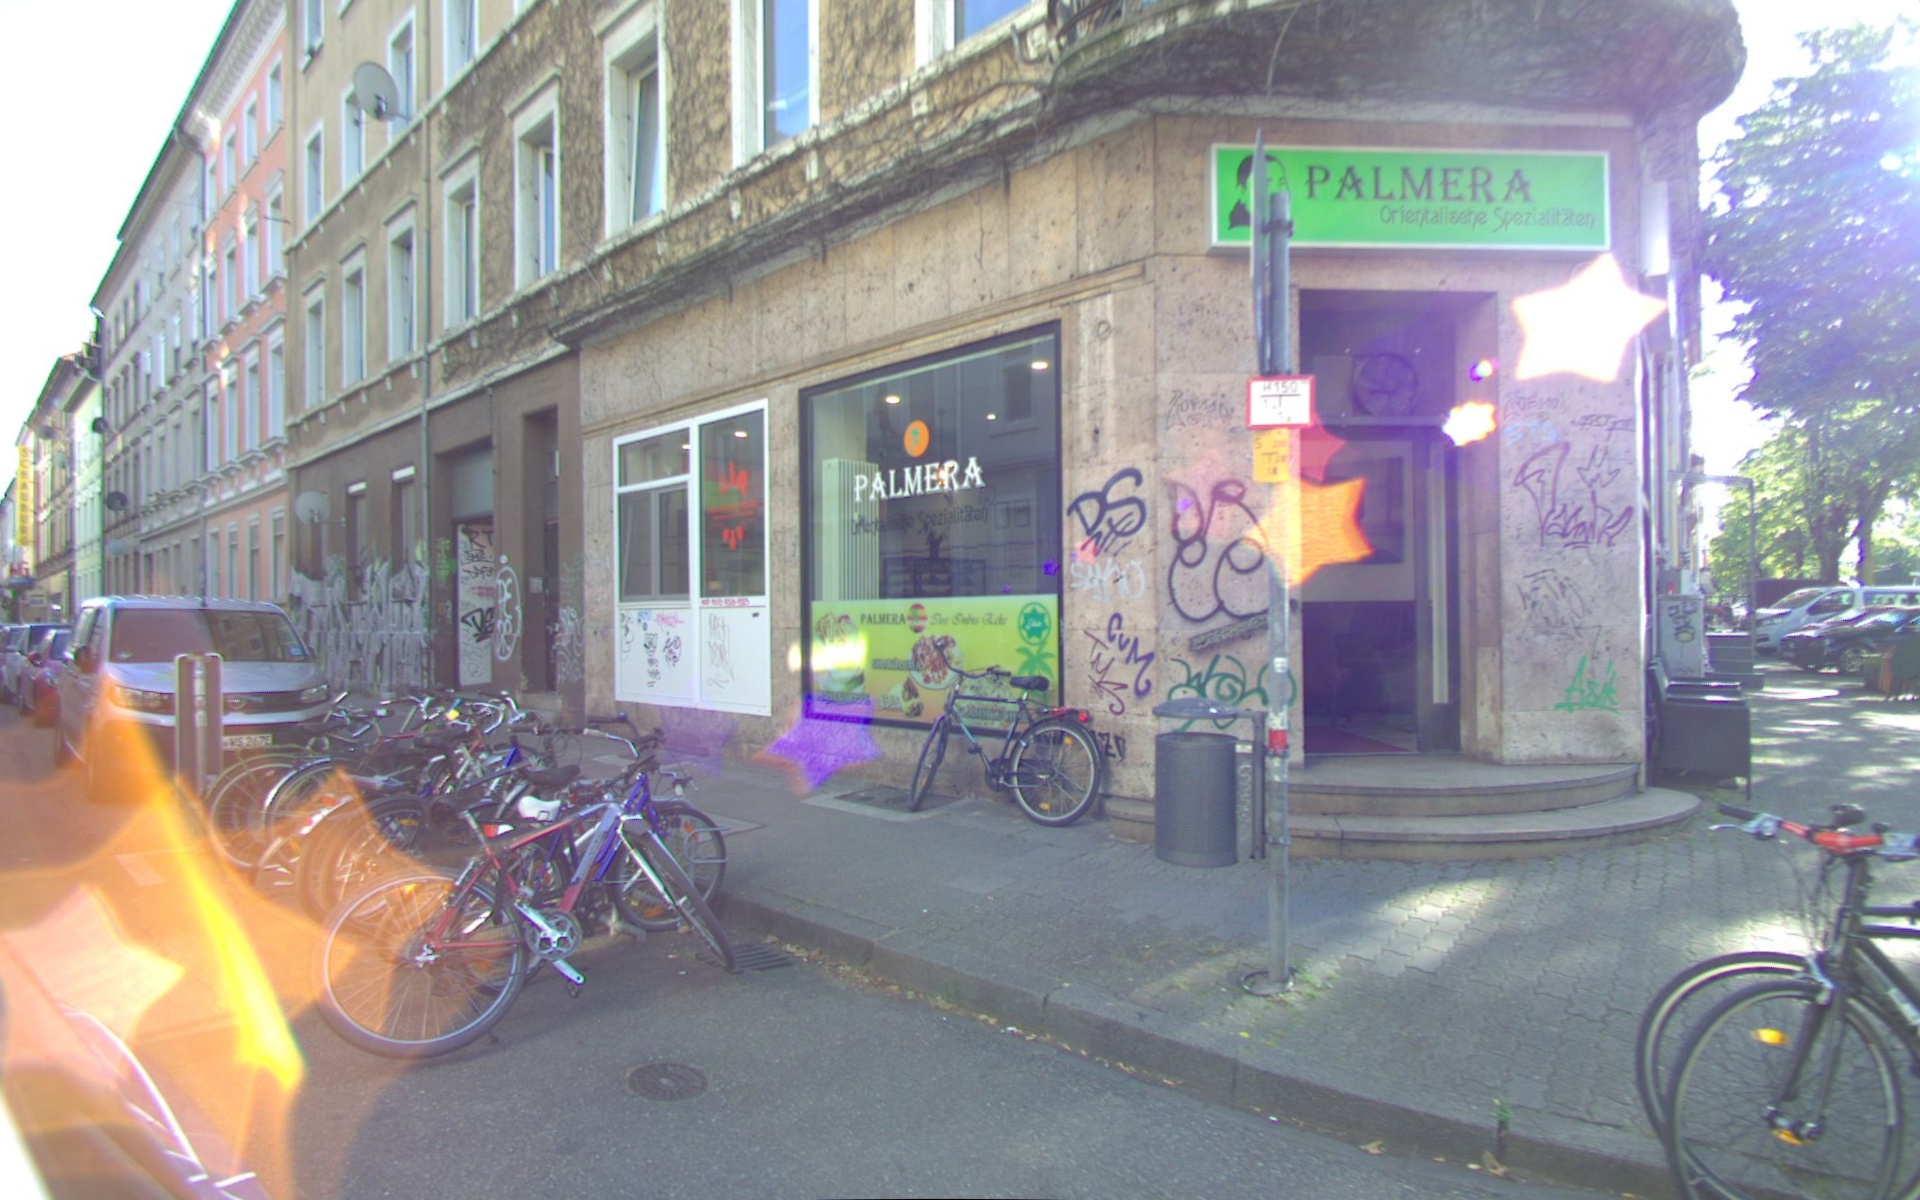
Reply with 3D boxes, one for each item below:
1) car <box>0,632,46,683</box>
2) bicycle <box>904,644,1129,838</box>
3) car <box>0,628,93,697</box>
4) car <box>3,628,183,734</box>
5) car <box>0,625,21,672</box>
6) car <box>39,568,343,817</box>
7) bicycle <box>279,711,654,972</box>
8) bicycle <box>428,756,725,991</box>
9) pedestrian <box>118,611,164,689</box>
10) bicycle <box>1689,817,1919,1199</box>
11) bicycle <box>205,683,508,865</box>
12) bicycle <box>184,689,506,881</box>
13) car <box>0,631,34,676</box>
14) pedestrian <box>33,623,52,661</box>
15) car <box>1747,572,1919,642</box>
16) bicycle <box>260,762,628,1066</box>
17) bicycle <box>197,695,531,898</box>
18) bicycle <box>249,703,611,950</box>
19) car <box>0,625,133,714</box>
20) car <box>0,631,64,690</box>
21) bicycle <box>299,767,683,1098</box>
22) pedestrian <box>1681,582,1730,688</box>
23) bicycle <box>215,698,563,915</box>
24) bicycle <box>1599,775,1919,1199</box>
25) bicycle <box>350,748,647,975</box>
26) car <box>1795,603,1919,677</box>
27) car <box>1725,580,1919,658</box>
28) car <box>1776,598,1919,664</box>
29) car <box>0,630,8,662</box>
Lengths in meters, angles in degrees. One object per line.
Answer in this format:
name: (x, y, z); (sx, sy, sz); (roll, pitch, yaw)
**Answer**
car: (-29.219, 1.744, 31.073); (1.659, 1.474, 3.865); (0, -1, -42)
bicycle: (0.321, 0.855, 6.614); (1.592, 1.100, 0.393); (-1, -1, 44)
car: (-22.188, 1.453, 24.283); (3.610, 1.504, 1.661); (-2, -2, 42)
car: (-13.952, 1.211, 16.206); (4.203, 1.485, 1.661); (-2, -3, 43)
car: (-36.598, 1.828, 38.071); (3.861, 1.696, 1.660); (-2, -2, 44)
car: (-7.759, 0.814, 10.024); (4.520, 1.925, 1.660); (-2, -4, 44)
bicycle: (-2.447, 1.140, 5.232); (0.427, 0.969, 1.749); (-2, -2, 36)
bicycle: (-1.773, 1.236, 4.873); (0.361, 0.824, 1.375); (-2, -4, 34)
pedestrian: (-19.974, 1.200, 24.684); (0.595, 1.844, 0.779); (-2, 0, 44)
bicycle: (2.466, 0.977, 1.950); (1.666, 1.053, 0.458); (-3, -1, 4)
bicycle: (-4.111, 1.134, 7.014); (0.463, 0.996, 1.745); (-2, -2, 43)
bicycle: (-3.915, 1.127, 6.572); (0.405, 0.969, 1.746); (-2, -2, 42)
car: (-33.216, 1.831, 34.908); (3.861, 1.474, 1.660); (-2, -2, 44)
pedestrian: (-45.199, 2.059, 49.851); (0.595, 1.844, 0.618); (-2, 0, 45)
car: (34.940, 0.243, 40.548); (5.184, 2.597, 2.220); (2, 0, 34)
bicycle: (-1.970, 1.149, 4.017); (0.354, 0.824, 1.298); (-2, -2, 34)
bicycle: (-3.616, 1.138, 6.280); (0.422, 0.969, 1.746); (-2, -2, 42)
bicycle: (-2.773, 1.124, 5.503); (0.480, 0.969, 1.751); (-2, -1, 31)
car: (-17.244, 1.282, 19.372); (2.957, 1.561, 1.662); (-2, -3, 40)
car: (-25.695, 1.603, 27.541); (4.314, 1.474, 1.660); (-2, -2, 44)
bicycle: (-1.672, 1.136, 3.779); (0.370, 0.824, 1.298); (-2, -2, 34)
pedestrian: (11.897, 0.554, 16.172); (0.538, 1.655, 0.563); (-3, -2, 34)
bicycle: (-3.292, 1.133, 5.980); (0.443, 0.969, 1.746); (-2, -2, 42)
bicycle: (2.538, 0.984, 2.429); (1.642, 1.054, 0.450); (-1, -1, 4)
bicycle: (-2.173, 1.193, 4.913); (0.380, 0.824, 1.298); (-2, -4, 34)
car: (20.552, 0.799, 21.029); (4.600, 1.502, 1.681); (-1, -1, 15)
car: (24.717, 0.510, 27.924); (5.295, 2.006, 2.030); (-2, -1, 14)
car: (23.174, 0.768, 25.771); (3.291, 1.514, 1.682); (-2, 1, 13)
car: (-44.208, 2.095, 45.647); (3.861, 1.426, 1.660); (-2, -2, 44)
